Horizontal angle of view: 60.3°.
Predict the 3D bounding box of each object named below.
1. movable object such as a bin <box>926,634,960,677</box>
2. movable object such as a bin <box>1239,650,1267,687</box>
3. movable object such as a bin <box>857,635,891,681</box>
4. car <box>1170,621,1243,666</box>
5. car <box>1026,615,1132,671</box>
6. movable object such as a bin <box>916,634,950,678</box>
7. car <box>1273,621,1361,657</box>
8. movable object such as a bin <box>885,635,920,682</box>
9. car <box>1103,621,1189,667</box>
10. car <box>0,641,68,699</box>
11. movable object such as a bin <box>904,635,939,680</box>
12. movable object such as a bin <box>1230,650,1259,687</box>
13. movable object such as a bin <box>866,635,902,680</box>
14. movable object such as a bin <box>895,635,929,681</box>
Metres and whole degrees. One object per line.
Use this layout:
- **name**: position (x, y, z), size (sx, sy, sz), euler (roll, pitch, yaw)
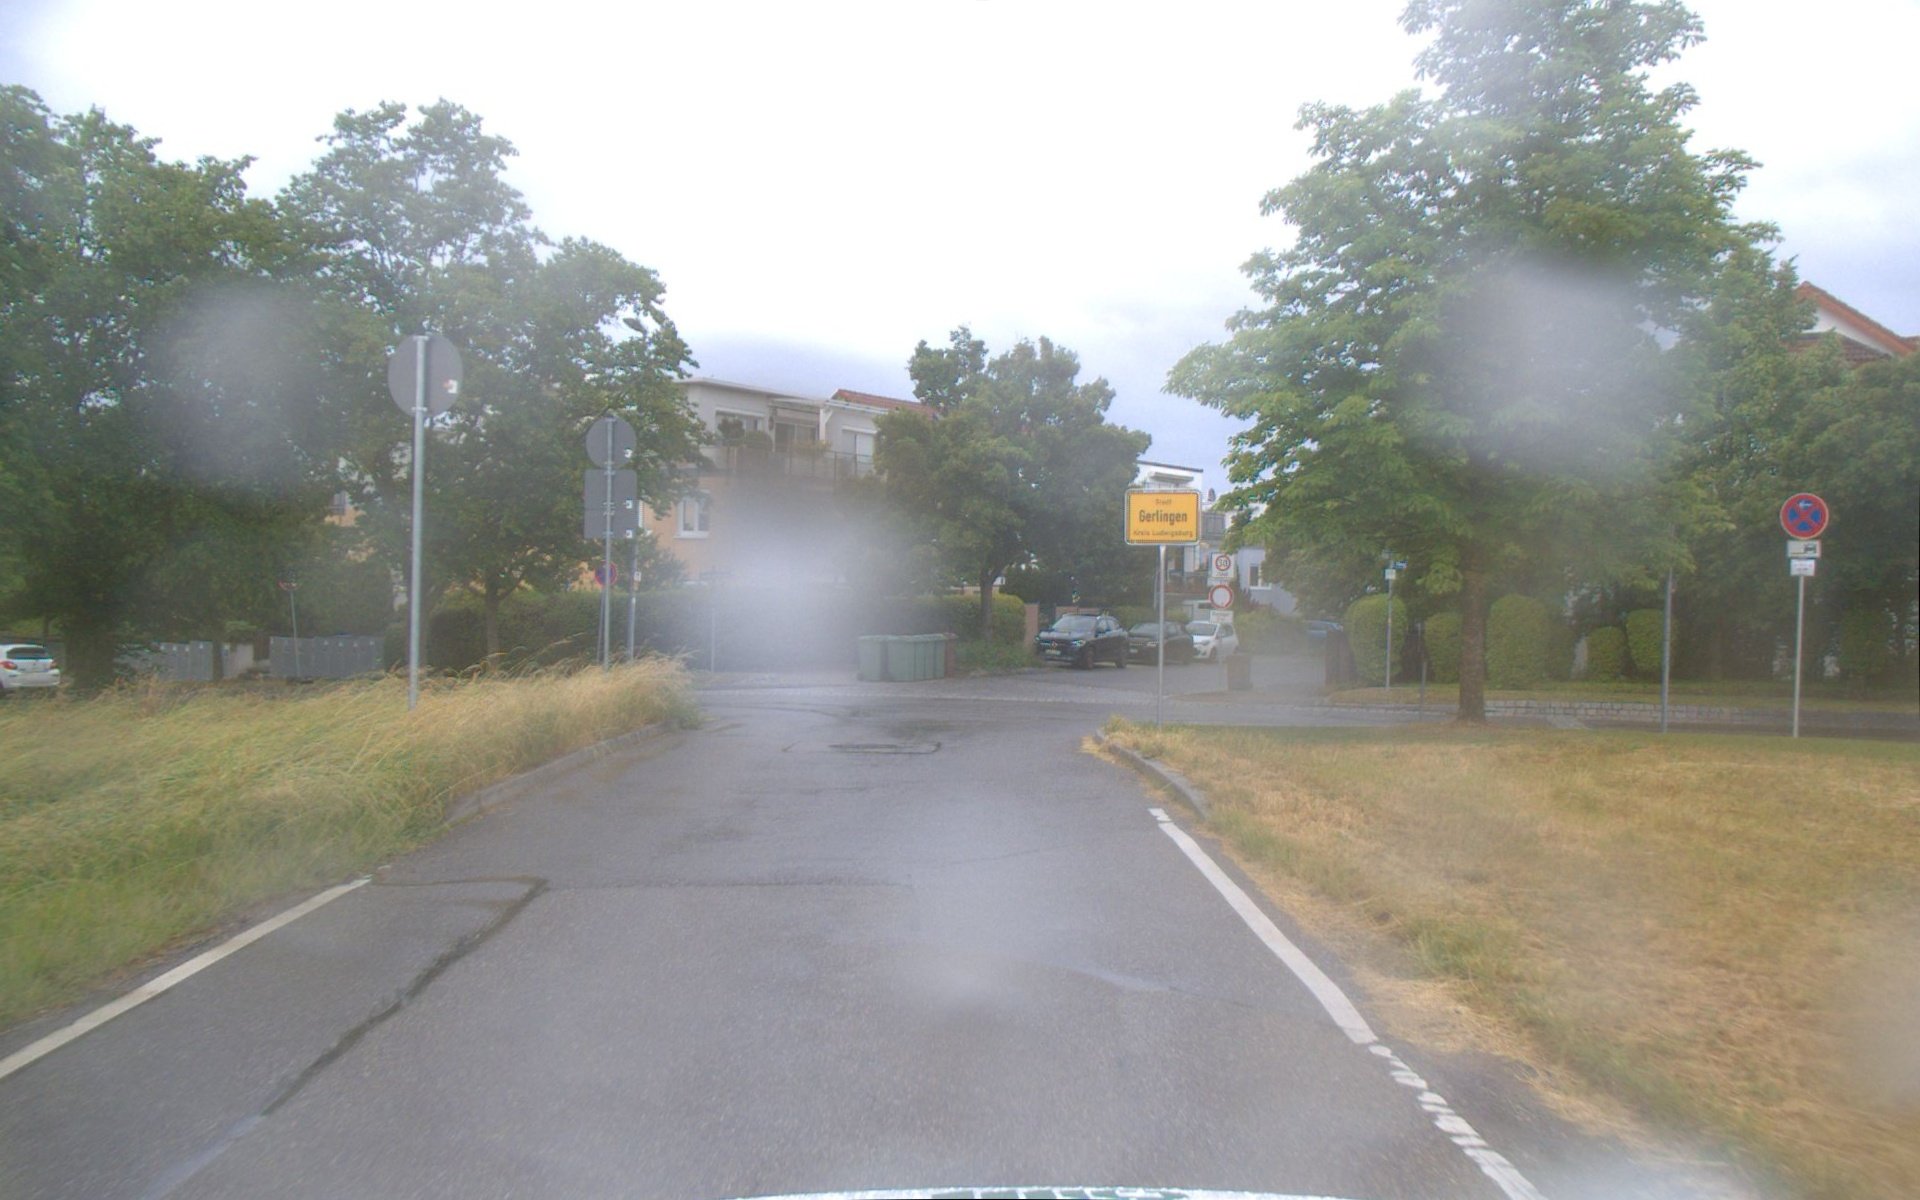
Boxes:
- **movable object such as a bin**: position (-0.429, 1.412, 42.244), size (0.680, 1.073, 0.605), euler (0, 0, 20)
- **movable object such as a bin**: position (7.787, 1.818, 43.956), size (0.560, 0.947, 0.529), euler (1, -1, 33)
- **movable object such as a bin**: position (-2.086, 1.396, 39.973), size (0.651, 1.092, 0.544), euler (0, 0, 20)
- **car**: position (9.079, 1.587, 60.697), size (1.483, 1.502, 3.267), euler (3, 0, 30)
- **car**: position (3.736, 1.314, 51.140), size (1.741, 1.545, 4.132), euler (3, 0, 27)
- **movable object such as a bin**: position (-0.675, 1.410, 41.480), size (0.680, 1.073, 0.605), euler (0, 0, 20)
- **car**: position (17.538, 1.917, 81.233), size (3.907, 1.595, 1.907), euler (2, -1, 24)
- **movable object such as a bin**: position (-1.383, 1.405, 39.778), size (0.680, 1.093, 0.602), euler (0, 0, 20)
- **car**: position (6.349, 1.495, 56.226), size (1.604, 1.433, 3.598), euler (3, 0, 29)
- **car**: position (-26.317, 1.928, 45.288), size (3.643, 1.529, 1.608), euler (-2, -3, 28)
- **movable object such as a bin**: position (-0.951, 1.411, 40.919), size (0.680, 1.086, 0.579), euler (0, 0, 20)
- **movable object such as a bin**: position (7.484, 1.803, 43.468), size (0.560, 0.947, 0.529), euler (1, -1, 33)
- **movable object such as a bin**: position (-1.860, 1.405, 40.544), size (0.680, 1.091, 0.598), euler (0, 0, 20)
- **movable object such as a bin**: position (-1.169, 1.409, 40.363), size (0.680, 1.093, 0.544), euler (0, 0, 20)
